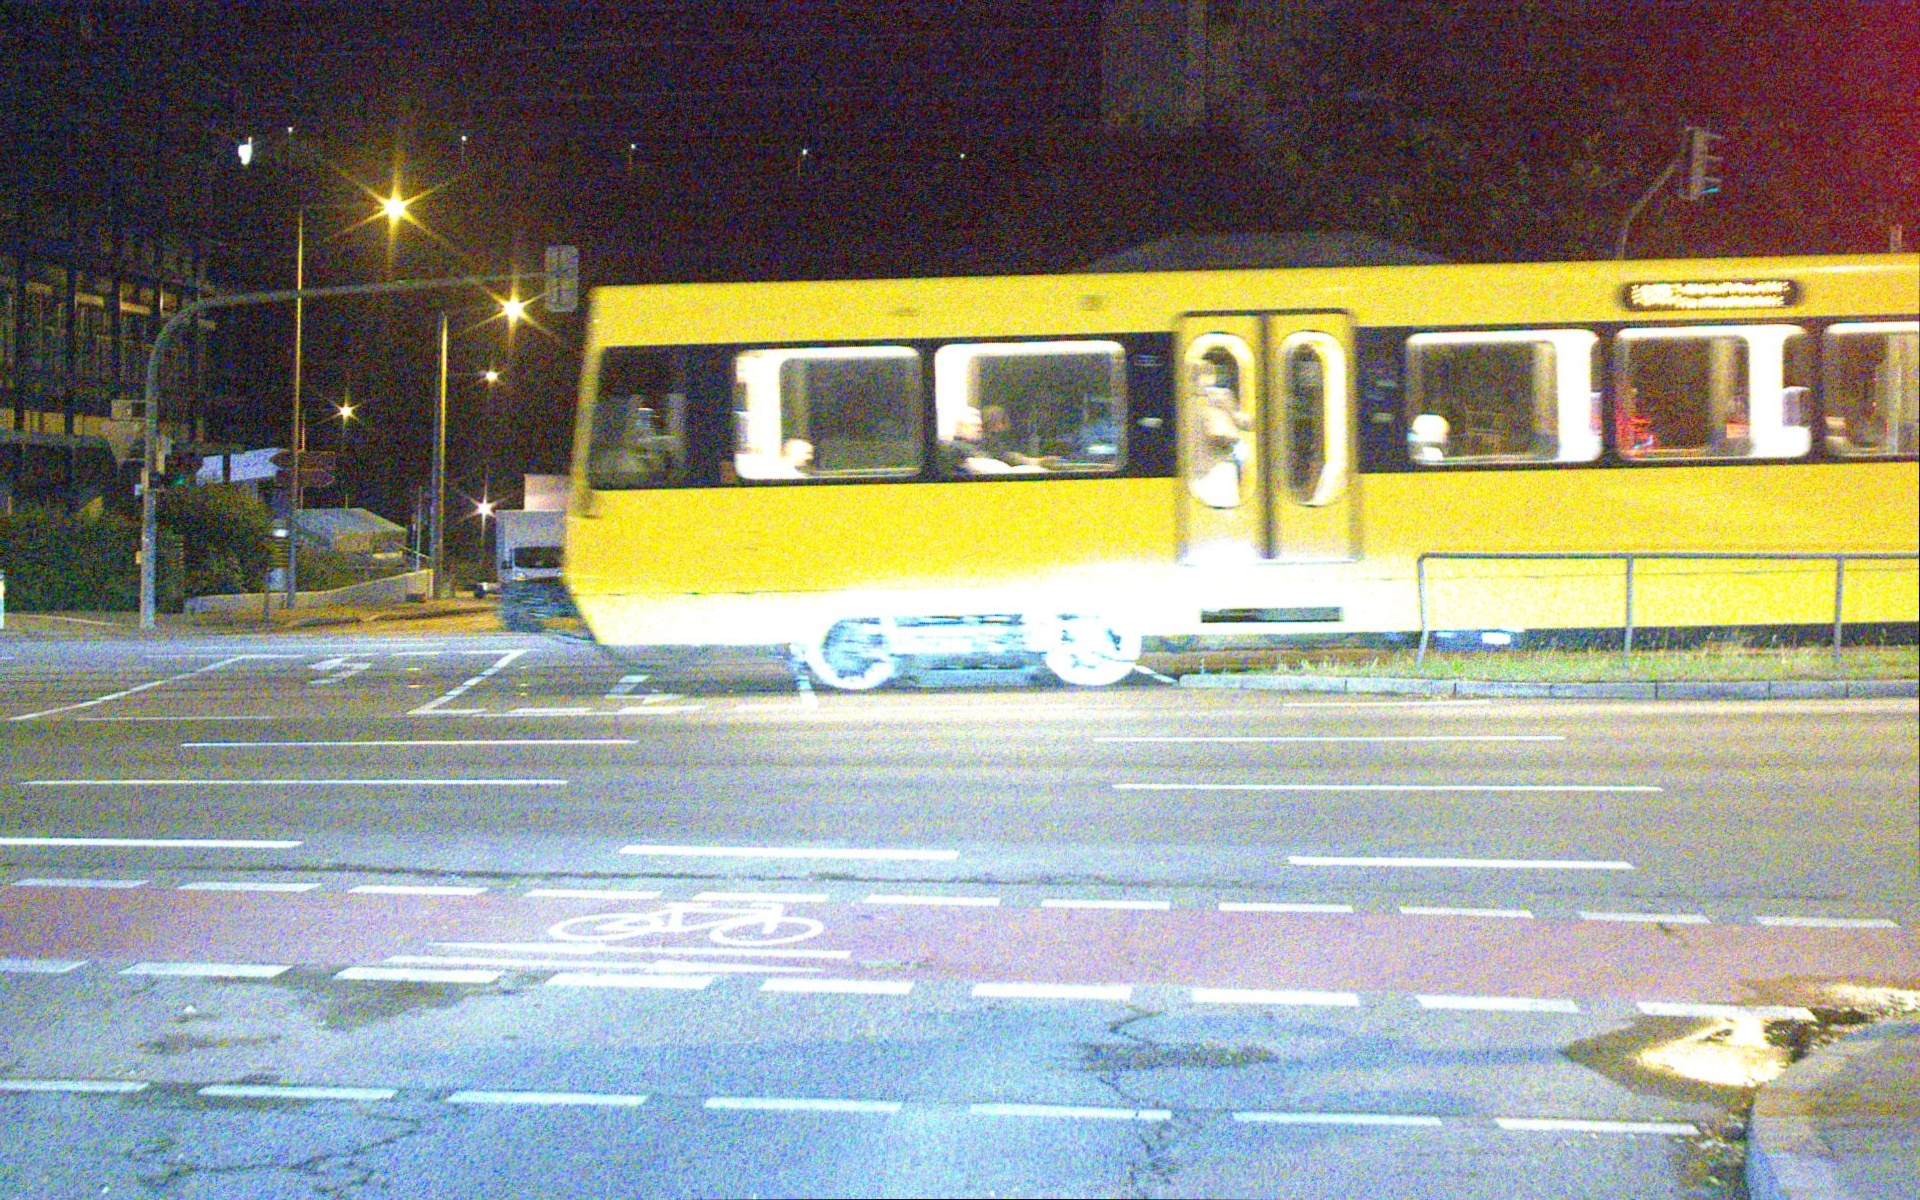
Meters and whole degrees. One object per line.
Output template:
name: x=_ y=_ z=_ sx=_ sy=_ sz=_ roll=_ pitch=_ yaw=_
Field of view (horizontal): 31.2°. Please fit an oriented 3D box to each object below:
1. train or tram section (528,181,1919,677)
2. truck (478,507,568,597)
train or tram section: x=5.764 y=-1.487 z=29.195 sx=18.421 sy=3.836 sz=2.965 roll=-1 pitch=3 yaw=4
truck: x=-15.477 y=-1.692 z=121.491 sx=2.417 sy=3.078 sz=6.440 roll=1 pitch=1 yaw=-13
